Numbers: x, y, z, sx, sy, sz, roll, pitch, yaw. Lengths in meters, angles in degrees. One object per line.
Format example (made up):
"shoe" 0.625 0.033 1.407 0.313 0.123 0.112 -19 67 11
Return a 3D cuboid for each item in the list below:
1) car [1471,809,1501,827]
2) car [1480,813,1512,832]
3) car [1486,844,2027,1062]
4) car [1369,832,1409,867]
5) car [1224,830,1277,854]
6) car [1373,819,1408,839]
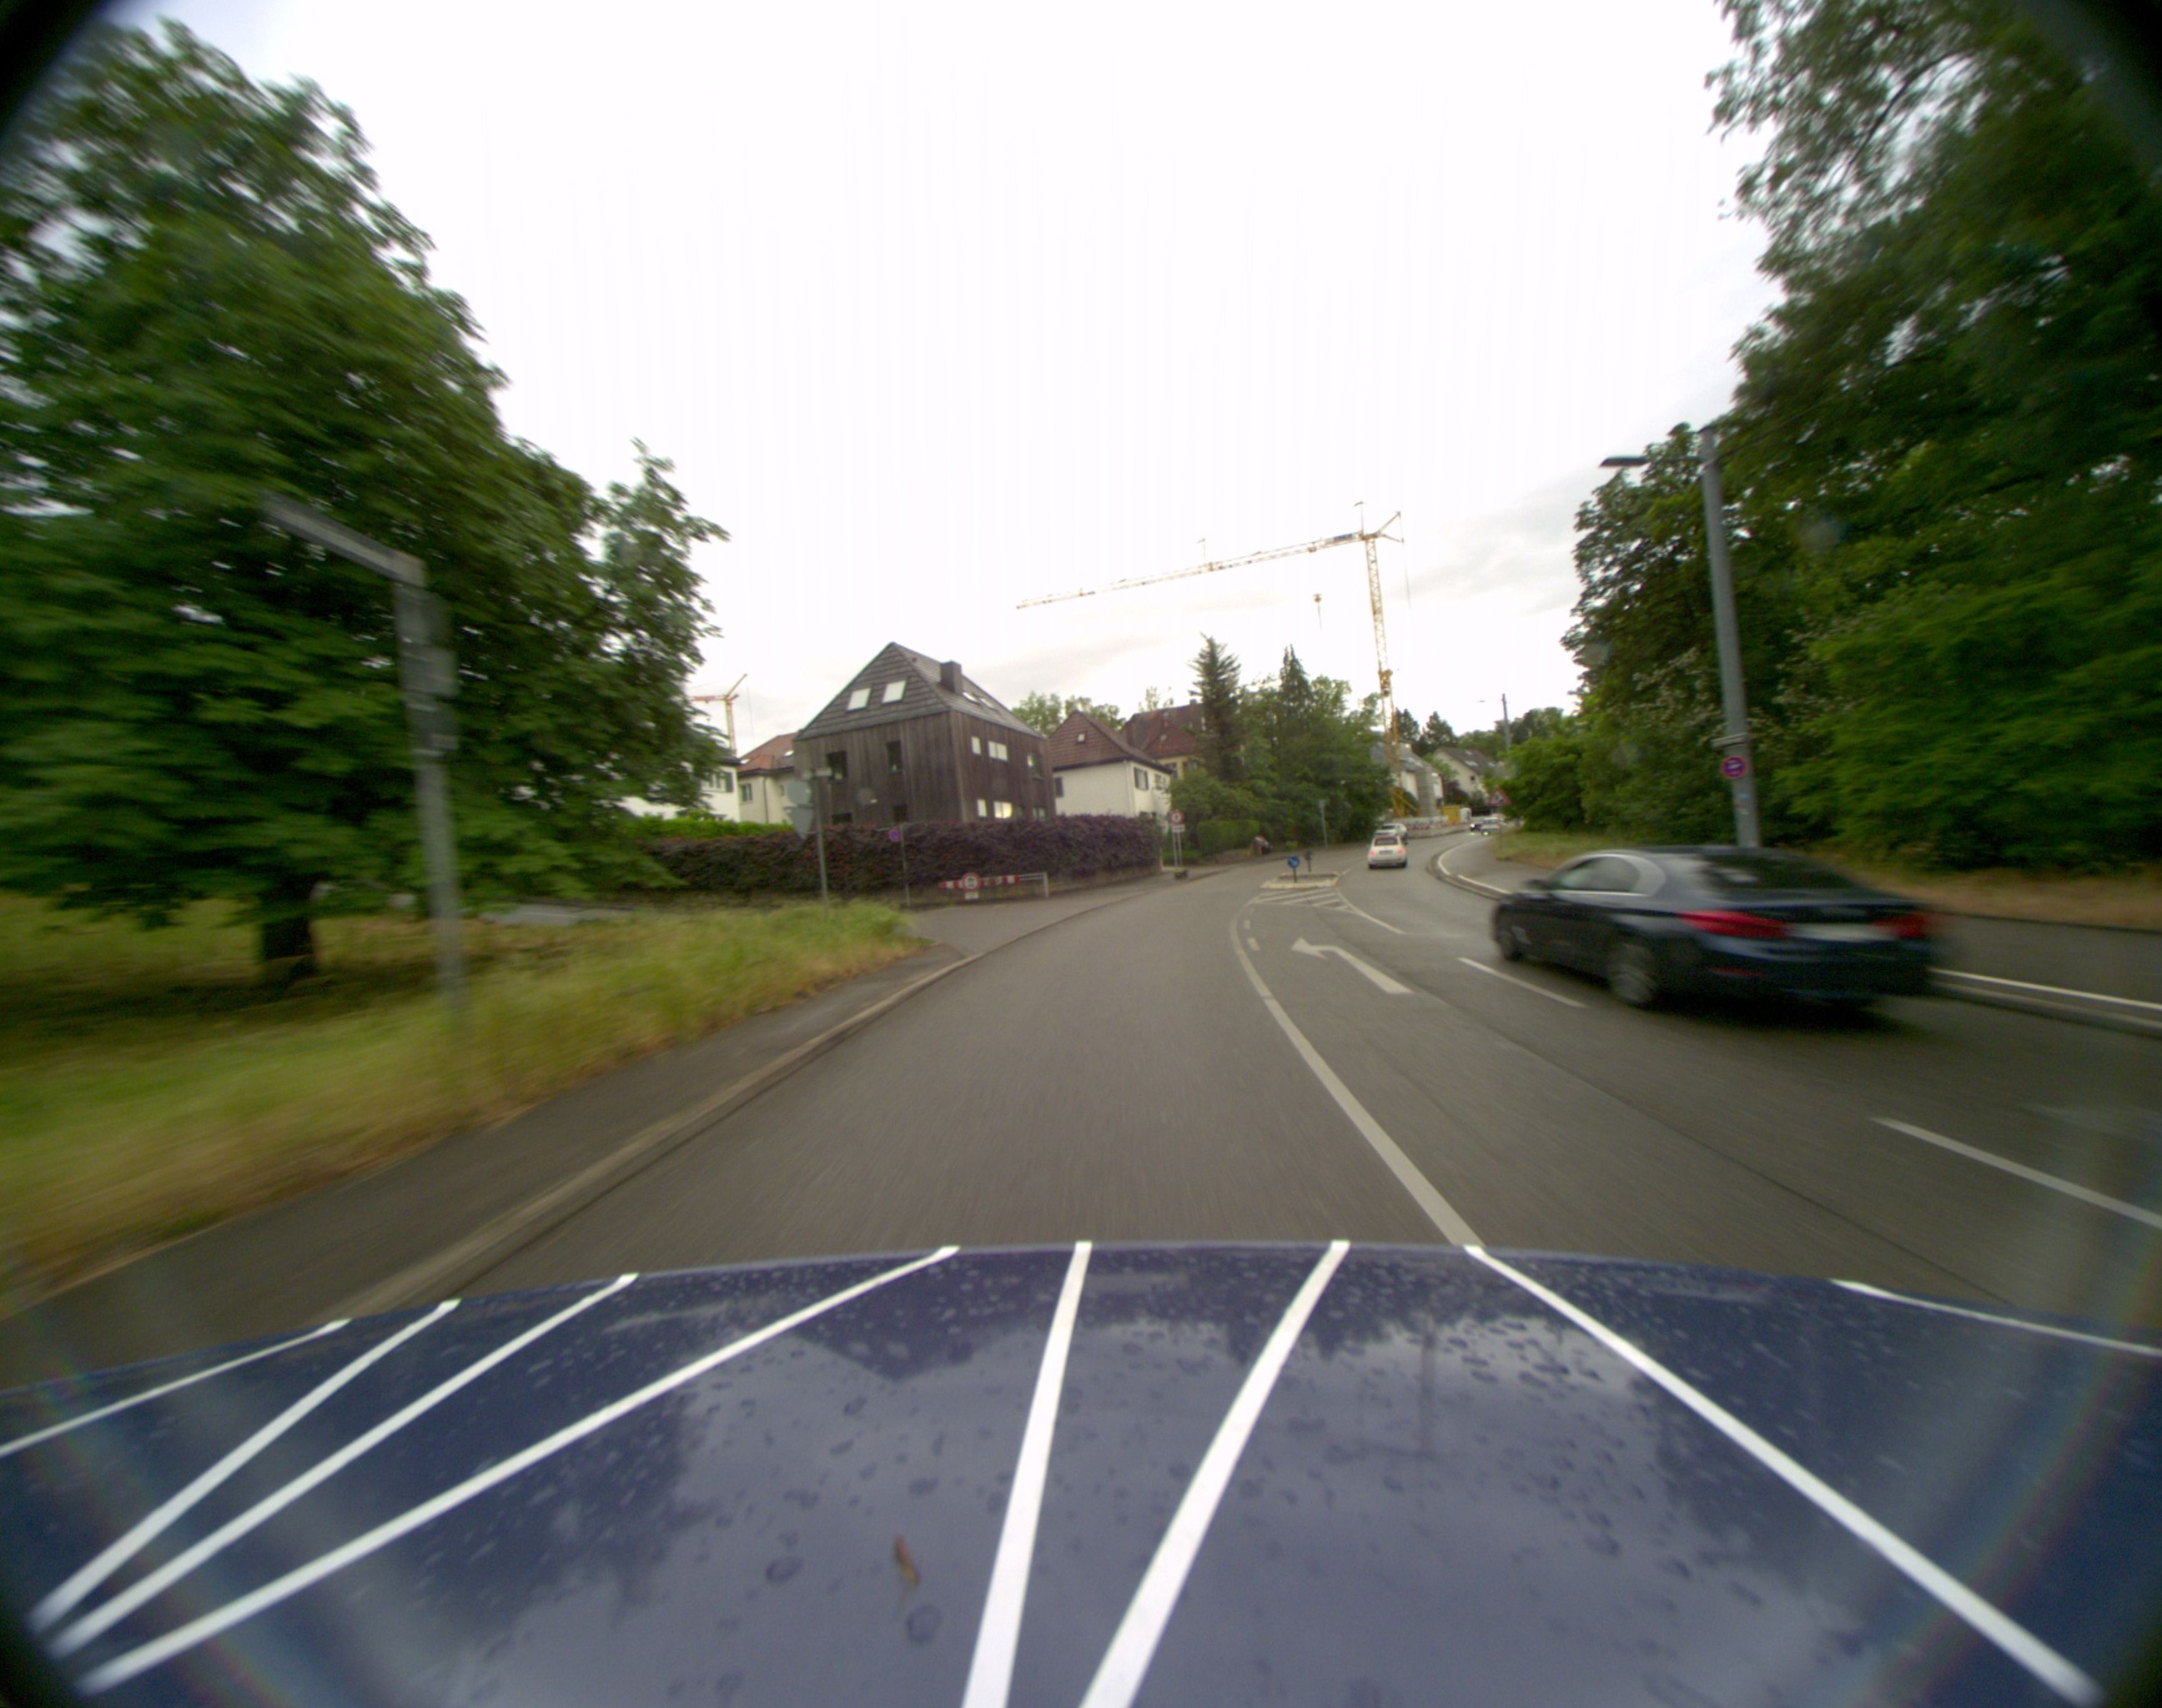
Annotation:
"car" 41.749 -3.675 78.351 1.994 1.707 4.008 -2 1 39
"car" 37.338 -2.827 68.318 1.633 1.446 3.808 -3 2 42
"car" 5.953 0.676 7.667 1.850 1.492 4.633 -1 1 8
"car" 14.558 -0.249 35.855 1.568 1.469 3.672 -2 1 24
"car" 12.886 -0.899 57.794 3.481 1.404 1.429 -7 0 30
"car" 26.921 -2.180 65.987 1.828 1.587 4.006 -1 3 37
